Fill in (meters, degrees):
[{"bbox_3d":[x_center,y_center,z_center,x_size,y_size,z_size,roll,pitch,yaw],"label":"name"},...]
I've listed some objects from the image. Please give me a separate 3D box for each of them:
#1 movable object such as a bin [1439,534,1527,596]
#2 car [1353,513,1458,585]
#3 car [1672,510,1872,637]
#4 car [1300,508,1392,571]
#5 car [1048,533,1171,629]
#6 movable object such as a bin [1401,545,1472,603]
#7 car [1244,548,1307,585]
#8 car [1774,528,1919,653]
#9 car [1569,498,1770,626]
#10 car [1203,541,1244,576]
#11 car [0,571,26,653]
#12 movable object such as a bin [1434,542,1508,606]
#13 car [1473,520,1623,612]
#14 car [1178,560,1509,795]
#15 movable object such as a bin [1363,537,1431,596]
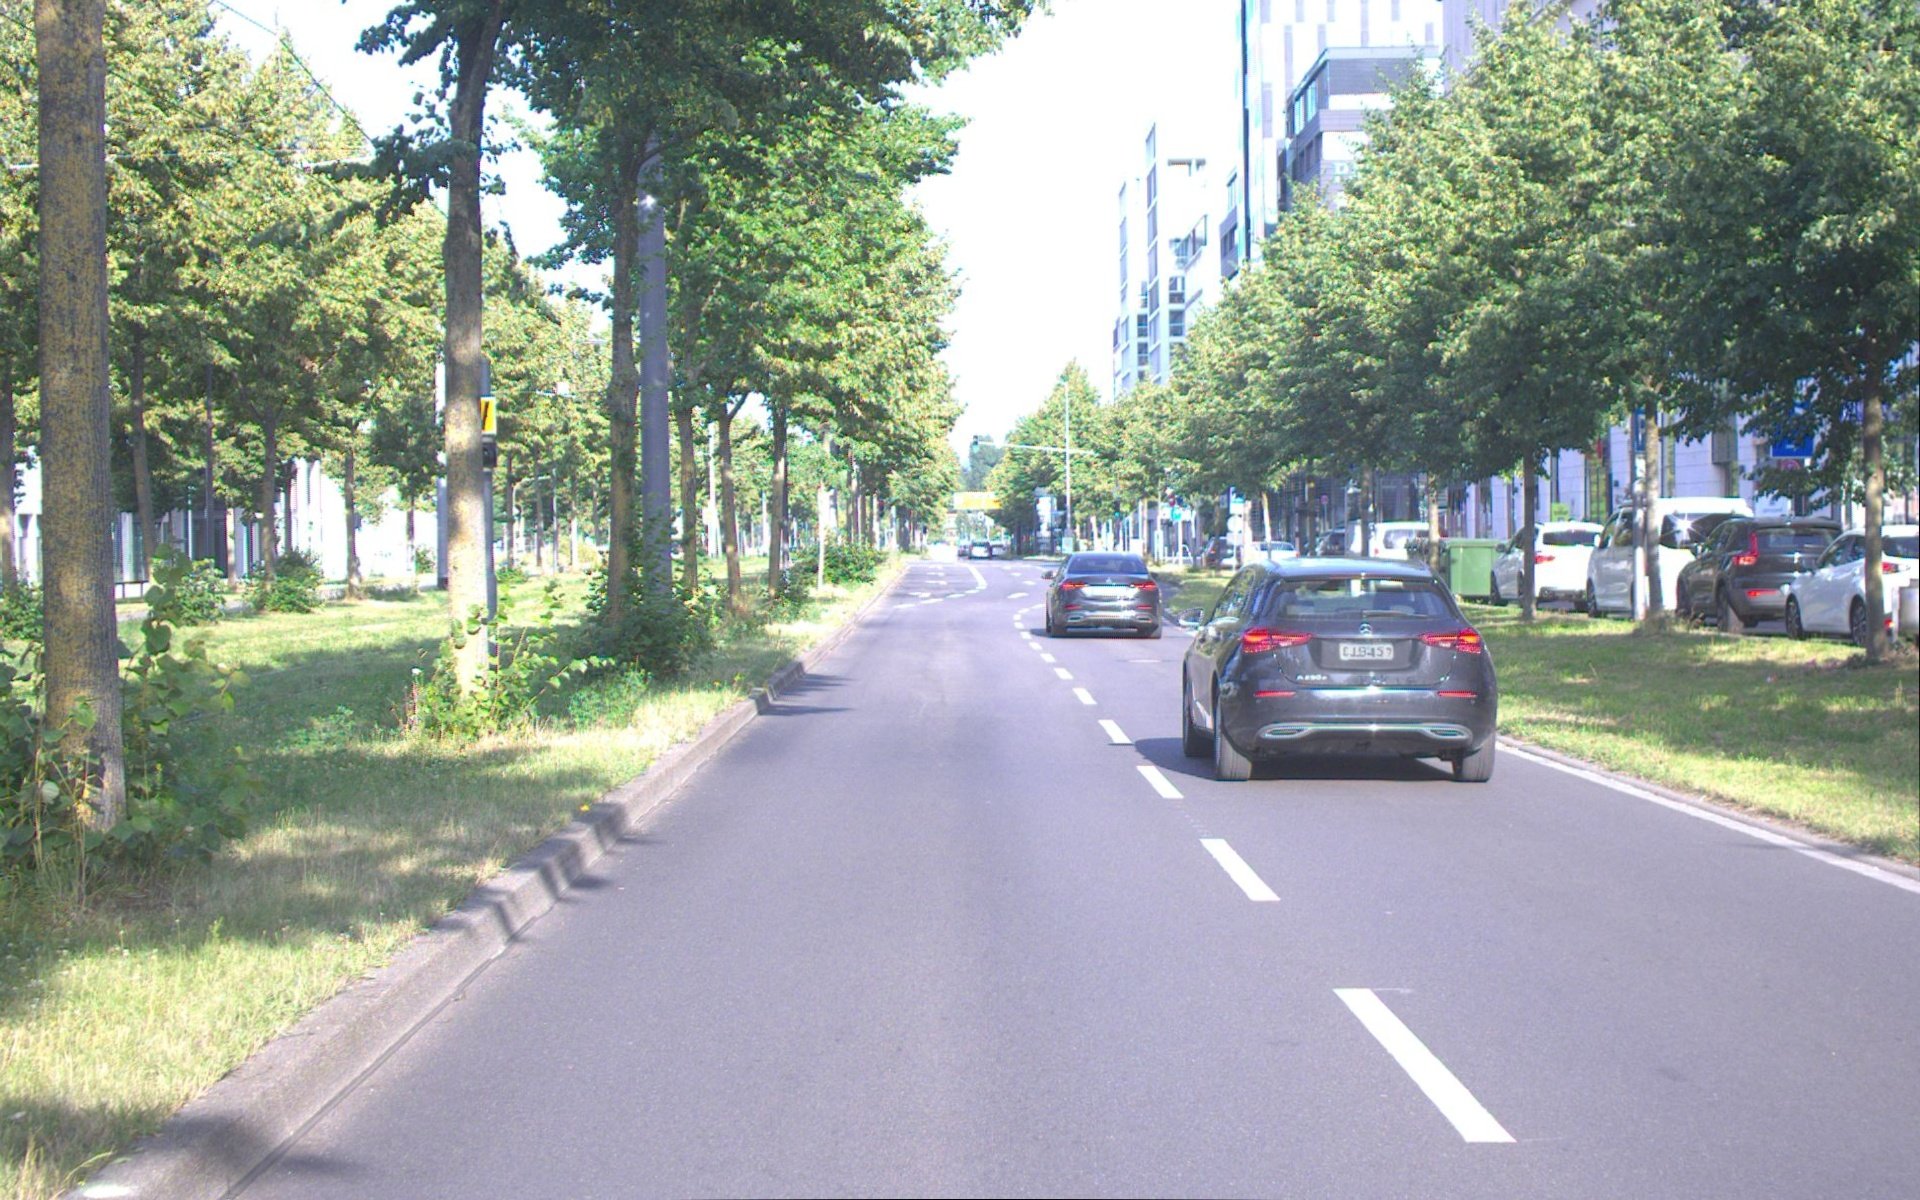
[{"bbox_3d":[10.626,-0.715,69.883,1.400,1.232,1.333,1,0,27],"label":"movable object such as a bin"},{"bbox_3d":[11.058,-1.256,85.545,1.827,1.706,4.297,1,0,-3],"label":"car"},{"bbox_3d":[11.085,-0.364,47.198,1.728,1.644,4.339,1,0,1],"label":"car"},{"bbox_3d":[10.936,-1.745,97.658,1.897,1.702,4.678,1,1,-2],"label":"car"},{"bbox_3d":[2.465,-0.320,57.397,1.859,1.519,3.785,1,0,0],"label":"car"},{"bbox_3d":[10.273,-0.564,74.141,1.277,1.232,1.191,1,0,-3],"label":"movable object such as a bin"},{"bbox_3d":[10.844,-1.144,118.307,1.708,1.238,3.906,1,0,-1],"label":"car"},{"bbox_3d":[11.120,-0.115,41.027,1.615,1.407,4.168,1,0,-3],"label":"car"},{"bbox_3d":[11.038,-0.587,53.836,1.837,1.869,5.032,1,0,-3],"label":"car"},{"bbox_3d":[10.694,-1.678,139.578,1.607,1.366,4.157,1,0,5],"label":"car"},{"bbox_3d":[-16.932,0.194,57.549,1.583,1.388,3.696,1,0,0],"label":"car"},{"bbox_3d":[10.613,-0.549,71.451,1.277,1.297,1.191,1,0,-3],"label":"movable object such as a bin"},{"bbox_3d":[10.973,-0.656,64.459,1.730,1.624,4.851,-1,1,-3],"label":"car"},{"bbox_3d":[2.489,0.461,23.157,1.774,1.419,3.961,1,0,0],"label":"car"},{"bbox_3d":[9.740,-0.749,76.714,1.277,1.287,1.178,1,0,-3],"label":"movable object such as a bin"}]
